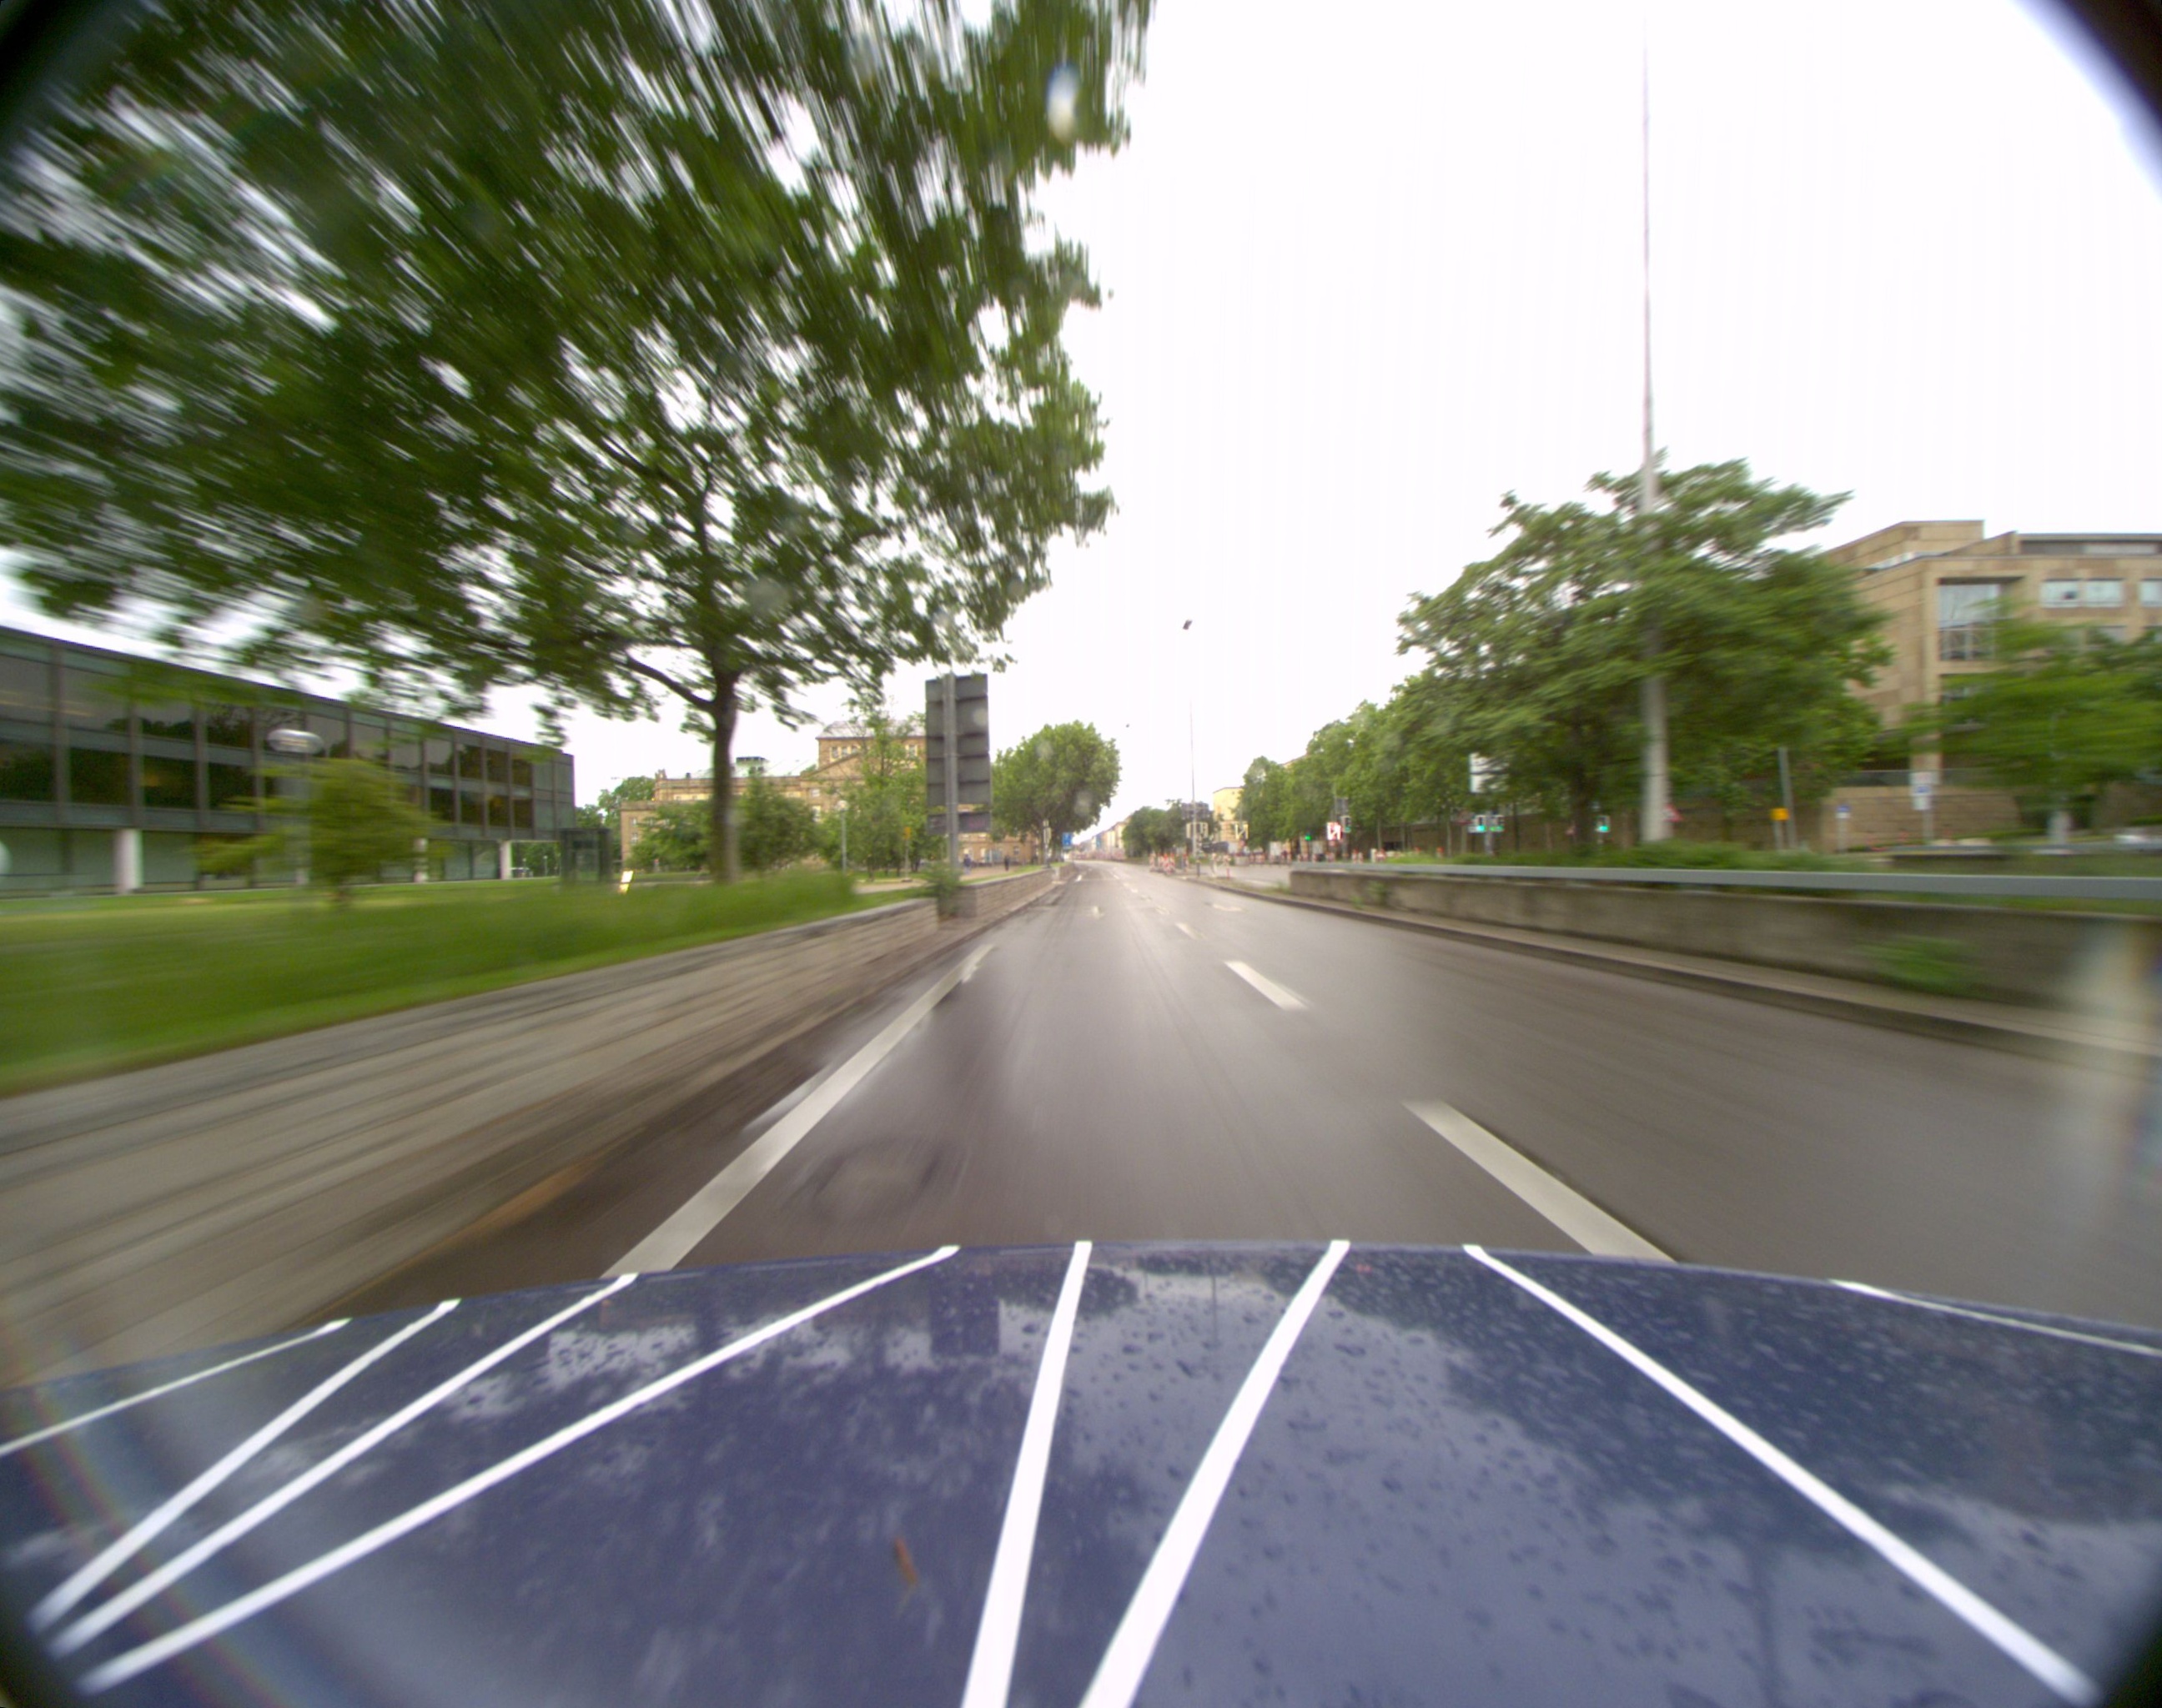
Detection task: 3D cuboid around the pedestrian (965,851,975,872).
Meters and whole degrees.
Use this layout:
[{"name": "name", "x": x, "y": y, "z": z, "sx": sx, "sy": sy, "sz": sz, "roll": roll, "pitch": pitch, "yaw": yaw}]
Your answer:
[{"name": "pedestrian", "x": -8.640, "y": 0.591, "z": 59.254, "sx": 0.671, "sy": 1.655, "sz": 0.587, "roll": -1, "pitch": 1, "yaw": -16}]

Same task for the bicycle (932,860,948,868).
[{"name": "bicycle", "x": -14.733, "y": 1.015, "z": 79.392, "sx": 1.627, "sy": 0.791, "sz": 0.509, "roll": -2, "pitch": 1, "yaw": -20}]

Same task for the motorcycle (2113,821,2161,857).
[{"name": "motorcycle", "x": 36.955, "y": -0.519, "z": 26.415, "sx": 1.817, "sy": 1.175, "sz": 0.606, "roll": -3, "pitch": 1, "yaw": -14}]

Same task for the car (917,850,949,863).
[{"name": "car", "x": -20.529, "y": 0.315, "z": 105.464, "sx": 3.948, "sy": 1.584, "sz": 1.956, "roll": -3, "pitch": 1, "yaw": -3}]

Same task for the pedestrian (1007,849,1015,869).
[{"name": "pedestrian", "x": -6.503, "y": 0.453, "z": 70.378, "sx": 0.594, "sy": 1.764, "sz": 0.587, "roll": -3, "pitch": 1, "yaw": 2}]

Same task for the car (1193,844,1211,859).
[{"name": "car", "x": 19.685, "y": -0.358, "z": 123.551, "sx": 1.999, "sy": 2.286, "sz": 4.227, "roll": -3, "pitch": 1, "yaw": -2}]
